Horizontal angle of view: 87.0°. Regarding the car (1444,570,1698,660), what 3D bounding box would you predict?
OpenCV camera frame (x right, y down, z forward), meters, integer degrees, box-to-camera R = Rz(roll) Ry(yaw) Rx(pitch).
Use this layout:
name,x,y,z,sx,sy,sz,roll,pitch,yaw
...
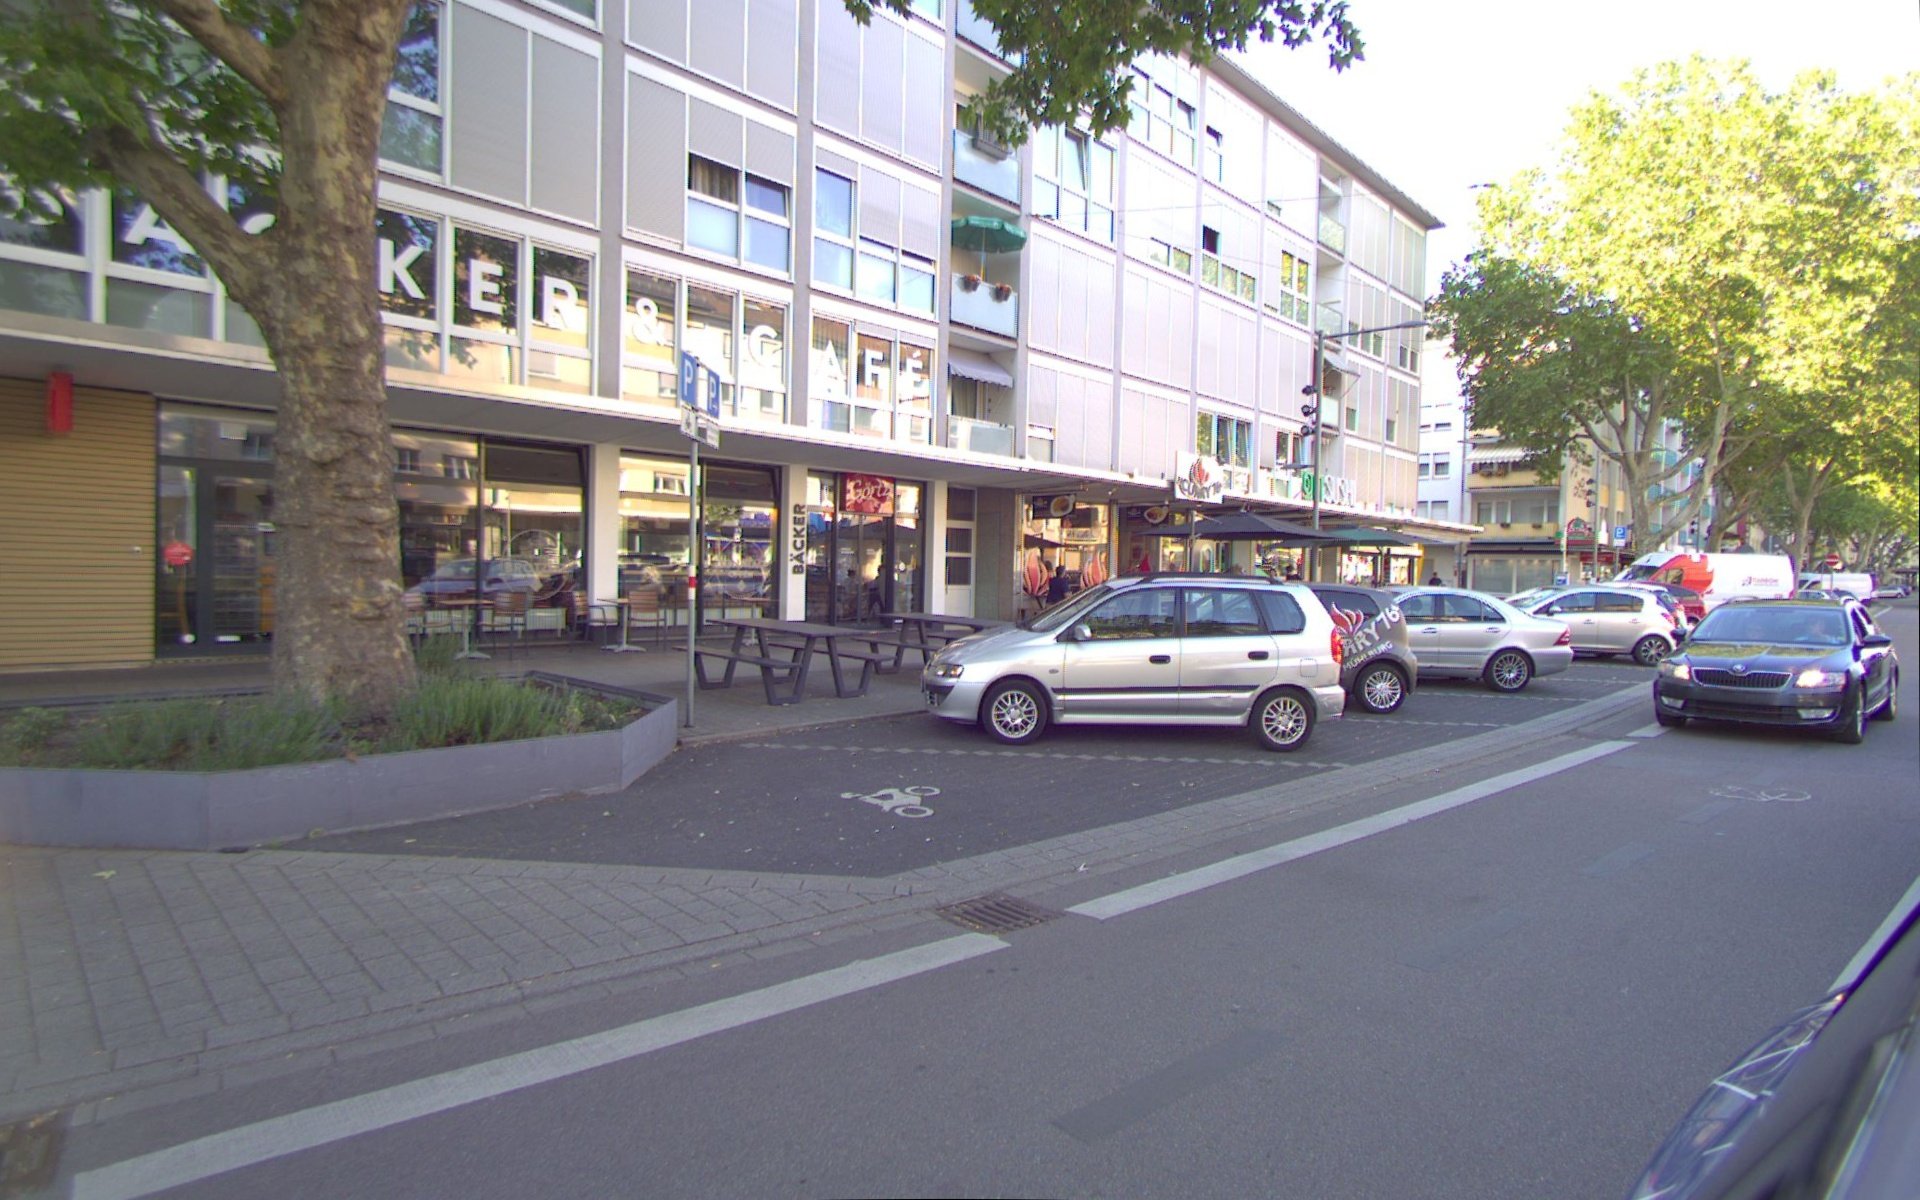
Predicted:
name,x,y,z,sx,sy,sz,roll,pitch,yaw
car,11.819,0.255,19.777,3.871,1.446,1.559,3,3,4

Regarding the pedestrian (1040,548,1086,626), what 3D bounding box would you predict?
name,x,y,z,sx,sy,sz,roll,pitch,yaw
pedestrian,2.188,-0.281,21.408,0.757,1.602,0.583,0,2,-39

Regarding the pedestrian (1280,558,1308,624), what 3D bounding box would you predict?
name,x,y,z,sx,sy,sz,roll,pitch,yaw
pedestrian,8.945,-0.248,27.087,0.544,1.741,0.450,2,2,45

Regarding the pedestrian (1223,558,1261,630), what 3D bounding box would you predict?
name,x,y,z,sx,sy,sz,roll,pitch,yaw
pedestrian,6.423,-0.141,23.036,0.559,1.596,0.632,2,2,44

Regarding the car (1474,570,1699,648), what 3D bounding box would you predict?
name,x,y,z,sx,sy,sz,roll,pitch,yaw
car,13.959,0.149,22.800,3.886,1.446,1.670,3,3,16

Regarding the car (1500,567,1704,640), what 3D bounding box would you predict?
name,x,y,z,sx,sy,sz,roll,pitch,yaw
car,15.882,0.041,25.263,3.888,1.445,1.669,4,5,17

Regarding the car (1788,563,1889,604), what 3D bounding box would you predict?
name,x,y,z,sx,sy,sz,roll,pitch,yaw
car,56.514,-1.073,65.163,4.512,2.499,1.977,1,2,3

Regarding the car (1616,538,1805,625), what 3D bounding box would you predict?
name,x,y,z,sx,sy,sz,roll,pitch,yaw
car,23.698,-0.584,32.093,4.514,2.525,1.675,2,0,5

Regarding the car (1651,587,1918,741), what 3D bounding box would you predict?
name,x,y,z,sx,sy,sz,roll,pitch,yaw
car,9.629,0.587,11.703,4.155,1.470,1.727,-1,1,-41

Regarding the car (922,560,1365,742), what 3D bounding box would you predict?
name,x,y,z,sx,sy,sz,roll,pitch,yaw
car,1.615,0.437,9.822,3.906,1.560,1.679,1,2,-3

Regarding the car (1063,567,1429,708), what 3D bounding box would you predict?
name,x,y,z,sx,sy,sz,roll,pitch,yaw
car,3.333,0.406,12.279,3.864,1.446,1.679,2,3,-3

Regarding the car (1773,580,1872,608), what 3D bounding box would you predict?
name,x,y,z,sx,sy,sz,roll,pitch,yaw
car,48.172,-0.346,56.588,3.864,1.422,1.782,1,2,3

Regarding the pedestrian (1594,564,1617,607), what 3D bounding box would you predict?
name,x,y,z,sx,sy,sz,roll,pitch,yaw
pedestrian,30.926,-0.698,48.489,0.746,2.038,0.752,3,2,45

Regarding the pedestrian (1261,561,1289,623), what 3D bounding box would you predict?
name,x,y,z,sx,sy,sz,roll,pitch,yaw
pedestrian,8.551,-0.232,27.472,0.536,1.660,0.470,2,2,45

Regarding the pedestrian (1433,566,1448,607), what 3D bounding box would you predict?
name,x,y,z,sx,sy,sz,roll,pitch,yaw
pedestrian,20.647,-0.595,43.518,0.473,1.751,0.347,1,1,11

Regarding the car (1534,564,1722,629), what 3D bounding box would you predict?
name,x,y,z,sx,sy,sz,roll,pitch,yaw
car,18.106,-0.146,27.654,3.893,1.445,1.667,4,5,20

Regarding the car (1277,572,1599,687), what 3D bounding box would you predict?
name,x,y,z,sx,sy,sz,roll,pitch,yaw
car,6.873,0.388,14.831,3.867,1.418,1.598,2,3,1

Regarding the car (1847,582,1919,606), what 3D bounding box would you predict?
name,x,y,z,sx,sy,sz,roll,pitch,yaw
car,56.561,-0.363,61.341,3.864,1.350,1.782,1,2,3
